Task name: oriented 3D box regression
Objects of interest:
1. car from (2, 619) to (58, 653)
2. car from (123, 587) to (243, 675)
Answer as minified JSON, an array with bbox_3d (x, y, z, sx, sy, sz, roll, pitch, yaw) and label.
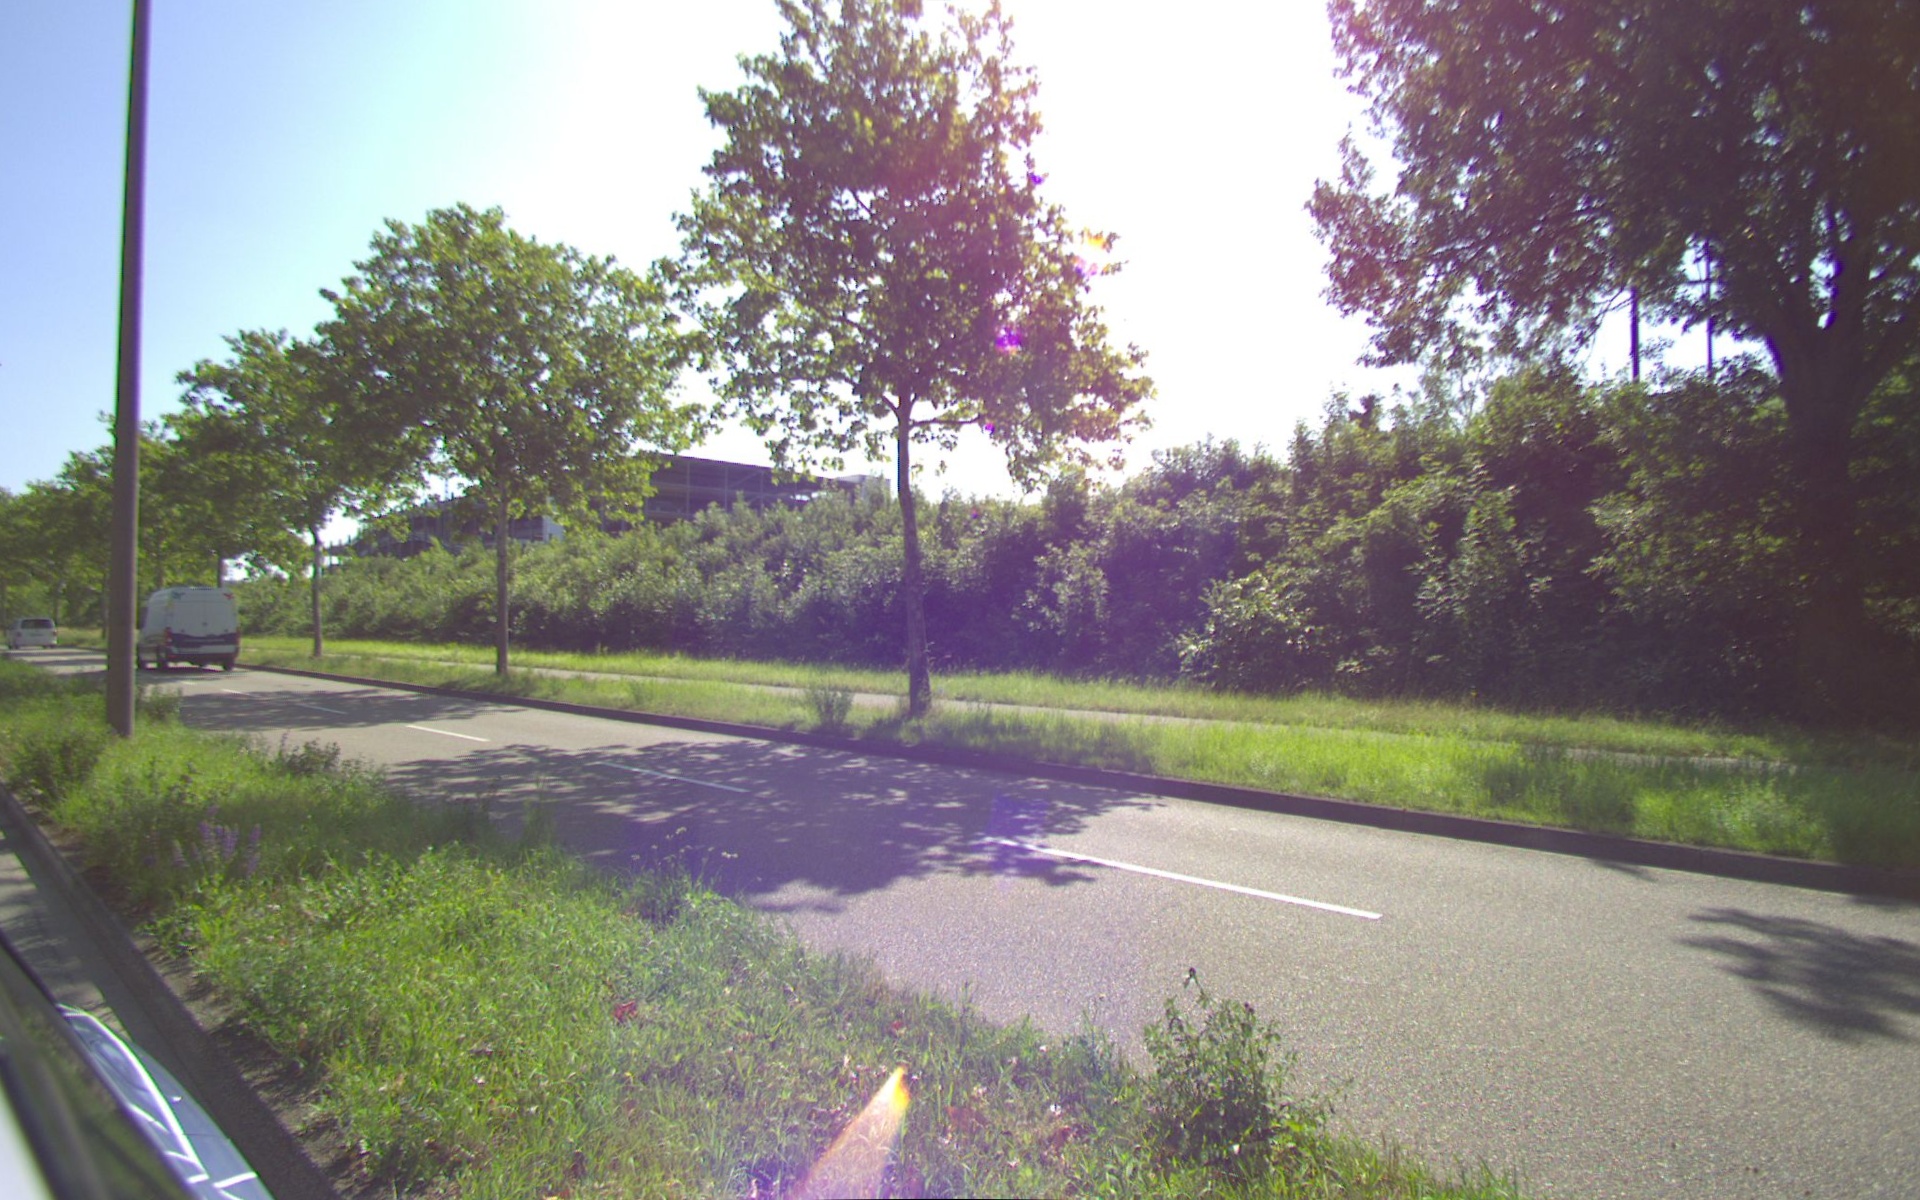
[{"bbox_3d":[-55.772,2.148,60.686,4.573,1.912,1.972,-1,-4,42],"label":"car"},{"bbox_3d":[-25.716,1.026,33.405,5.783,2.683,1.973,-1,-3,41],"label":"car"}]
